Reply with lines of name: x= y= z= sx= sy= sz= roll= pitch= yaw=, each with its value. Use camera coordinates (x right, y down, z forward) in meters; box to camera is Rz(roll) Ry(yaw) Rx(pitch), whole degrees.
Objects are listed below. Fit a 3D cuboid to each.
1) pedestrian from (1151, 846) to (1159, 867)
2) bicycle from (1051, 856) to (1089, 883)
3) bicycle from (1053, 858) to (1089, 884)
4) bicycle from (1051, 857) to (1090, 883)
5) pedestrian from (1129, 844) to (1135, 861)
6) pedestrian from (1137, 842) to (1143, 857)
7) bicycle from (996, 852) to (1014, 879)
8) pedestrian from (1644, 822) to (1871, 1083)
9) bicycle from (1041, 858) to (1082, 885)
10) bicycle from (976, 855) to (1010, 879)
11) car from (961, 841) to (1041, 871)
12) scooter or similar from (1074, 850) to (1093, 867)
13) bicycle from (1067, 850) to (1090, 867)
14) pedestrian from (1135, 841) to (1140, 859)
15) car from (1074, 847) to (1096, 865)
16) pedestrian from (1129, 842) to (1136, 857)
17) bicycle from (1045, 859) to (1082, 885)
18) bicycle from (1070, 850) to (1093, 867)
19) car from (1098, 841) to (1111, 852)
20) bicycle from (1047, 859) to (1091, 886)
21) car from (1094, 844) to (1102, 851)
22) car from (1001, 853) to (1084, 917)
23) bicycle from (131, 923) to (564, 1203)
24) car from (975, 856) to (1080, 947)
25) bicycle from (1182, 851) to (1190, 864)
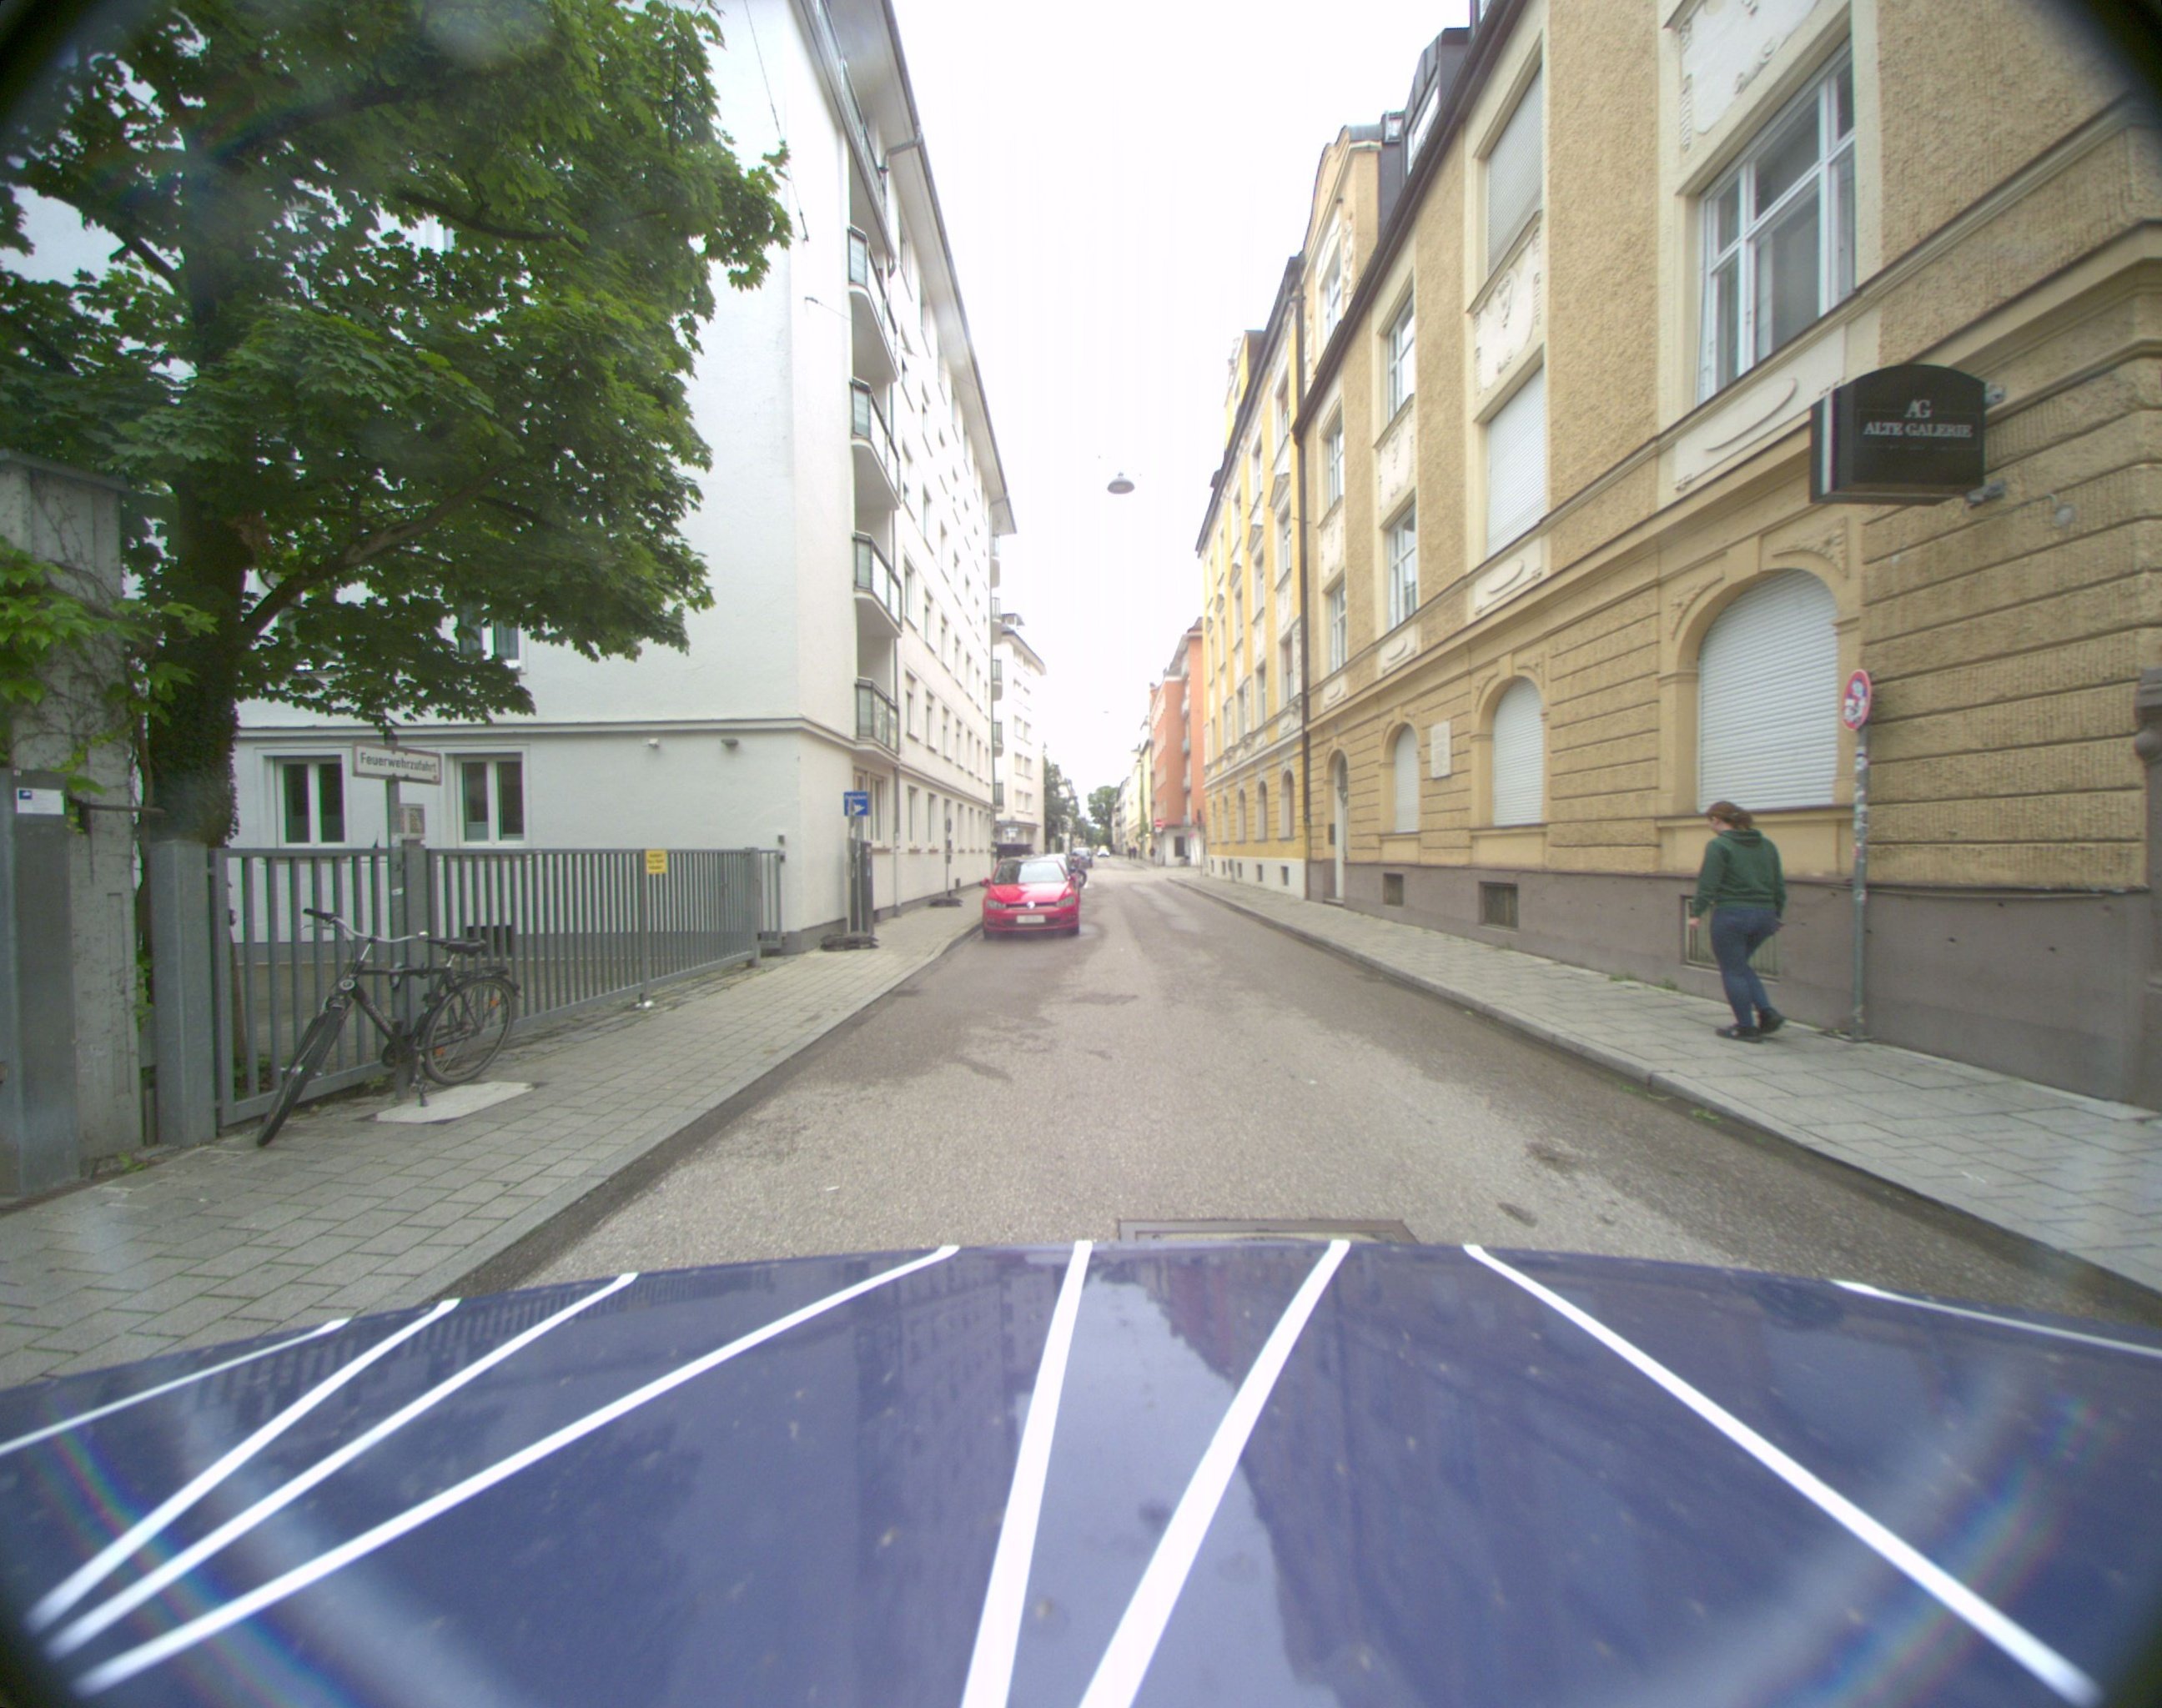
pedestrian: x=5.917 y=0.175 z=60.547 sx=0.613 sy=1.684 sz=0.565 roll=0 pitch=1 yaw=0
bicycle: x=-0.481 y=0.693 z=34.137 sx=1.699 sy=1.154 sz=0.378 roll=-1 pitch=1 yaw=0
bicycle: x=-0.431 y=0.709 z=32.067 sx=1.441 sy=1.038 sz=0.360 roll=2 pitch=2 yaw=9
bicycle: x=-0.450 y=0.700 z=33.738 sx=1.699 sy=1.154 sz=0.378 roll=-1 pitch=1 yaw=0
pedestrian: x=5.883 y=-0.211 z=88.163 sx=0.635 sy=2.002 sz=0.788 roll=1 pitch=1 yaw=2
pedestrian: x=6.851 y=-0.542 z=88.060 sx=0.699 sy=1.783 sz=0.763 roll=0 pitch=1 yaw=2
bicycle: x=-3.662 y=0.545 z=36.499 sx=0.399 sy=1.198 sz=1.502 roll=1 pitch=2 yaw=-23
pedestrian: x=4.733 y=0.640 z=5.393 sx=0.714 sy=1.656 sz=0.929 roll=-4 pitch=1 yaw=1
bicycle: x=-0.801 y=0.720 z=31.186 sx=1.590 sy=1.038 sz=0.323 roll=2 pitch=2 yaw=10
bicycle: x=-4.019 y=0.605 z=34.657 sx=1.502 sy=1.038 sz=0.398 roll=1 pitch=2 yaw=-17
car: x=-5.036 y=0.124 z=47.958 sx=4.676 sy=1.880 sz=1.935 roll=0 pitch=0 yaw=9
scooter or similar: x=0.160 y=0.341 z=53.833 sx=1.340 sy=1.207 sz=0.344 roll=0 pitch=1 yaw=4
bicycle: x=-0.189 y=0.307 z=55.837 sx=1.607 sy=1.207 sz=0.529 roll=0 pitch=1 yaw=4
pedestrian: x=6.550 y=-0.442 z=88.114 sx=0.635 sy=2.002 sz=0.788 roll=1 pitch=1 yaw=2
car: x=0.357 y=0.138 z=61.652 sx=1.653 sy=1.391 sz=4.000 roll=0 pitch=1 yaw=1
pedestrian: x=5.953 y=-0.548 z=87.930 sx=0.726 sy=1.783 sz=0.830 roll=0 pitch=1 yaw=1
bicycle: x=-0.723 y=0.725 z=30.822 sx=1.438 sy=1.038 sz=0.330 roll=2 pitch=2 yaw=9
bicycle: x=0.033 y=0.316 z=55.261 sx=1.607 sy=1.207 sz=0.529 roll=0 pitch=1 yaw=4
car: x=3.877 y=-1.209 z=125.625 sx=1.929 sy=1.795 sz=4.443 roll=-1 pitch=1 yaw=1
bicycle: x=-0.484 y=0.734 z=30.351 sx=1.707 sy=1.038 sz=0.360 roll=1 pitch=2 yaw=2
car: x=4.517 y=-1.755 z=203.923 sx=1.998 sy=2.002 sz=4.646 roll=-1 pitch=1 yaw=1
car: x=-0.925 y=0.745 z=20.596 sx=1.799 sy=1.430 sz=4.383 roll=-2 pitch=1 yaw=2
bicycle: x=-4.030 y=1.052 z=4.448 sx=0.709 sy=1.191 sz=1.834 roll=-1 pitch=-2 yaw=2
car: x=-1.092 y=0.832 z=15.317 sx=1.766 sy=1.438 sz=4.296 roll=-2 pitch=1 yaw=-5
bicycle: x=7.734 y=0.287 z=55.858 sx=0.391 sy=0.932 sz=1.540 roll=0 pitch=1 yaw=1
